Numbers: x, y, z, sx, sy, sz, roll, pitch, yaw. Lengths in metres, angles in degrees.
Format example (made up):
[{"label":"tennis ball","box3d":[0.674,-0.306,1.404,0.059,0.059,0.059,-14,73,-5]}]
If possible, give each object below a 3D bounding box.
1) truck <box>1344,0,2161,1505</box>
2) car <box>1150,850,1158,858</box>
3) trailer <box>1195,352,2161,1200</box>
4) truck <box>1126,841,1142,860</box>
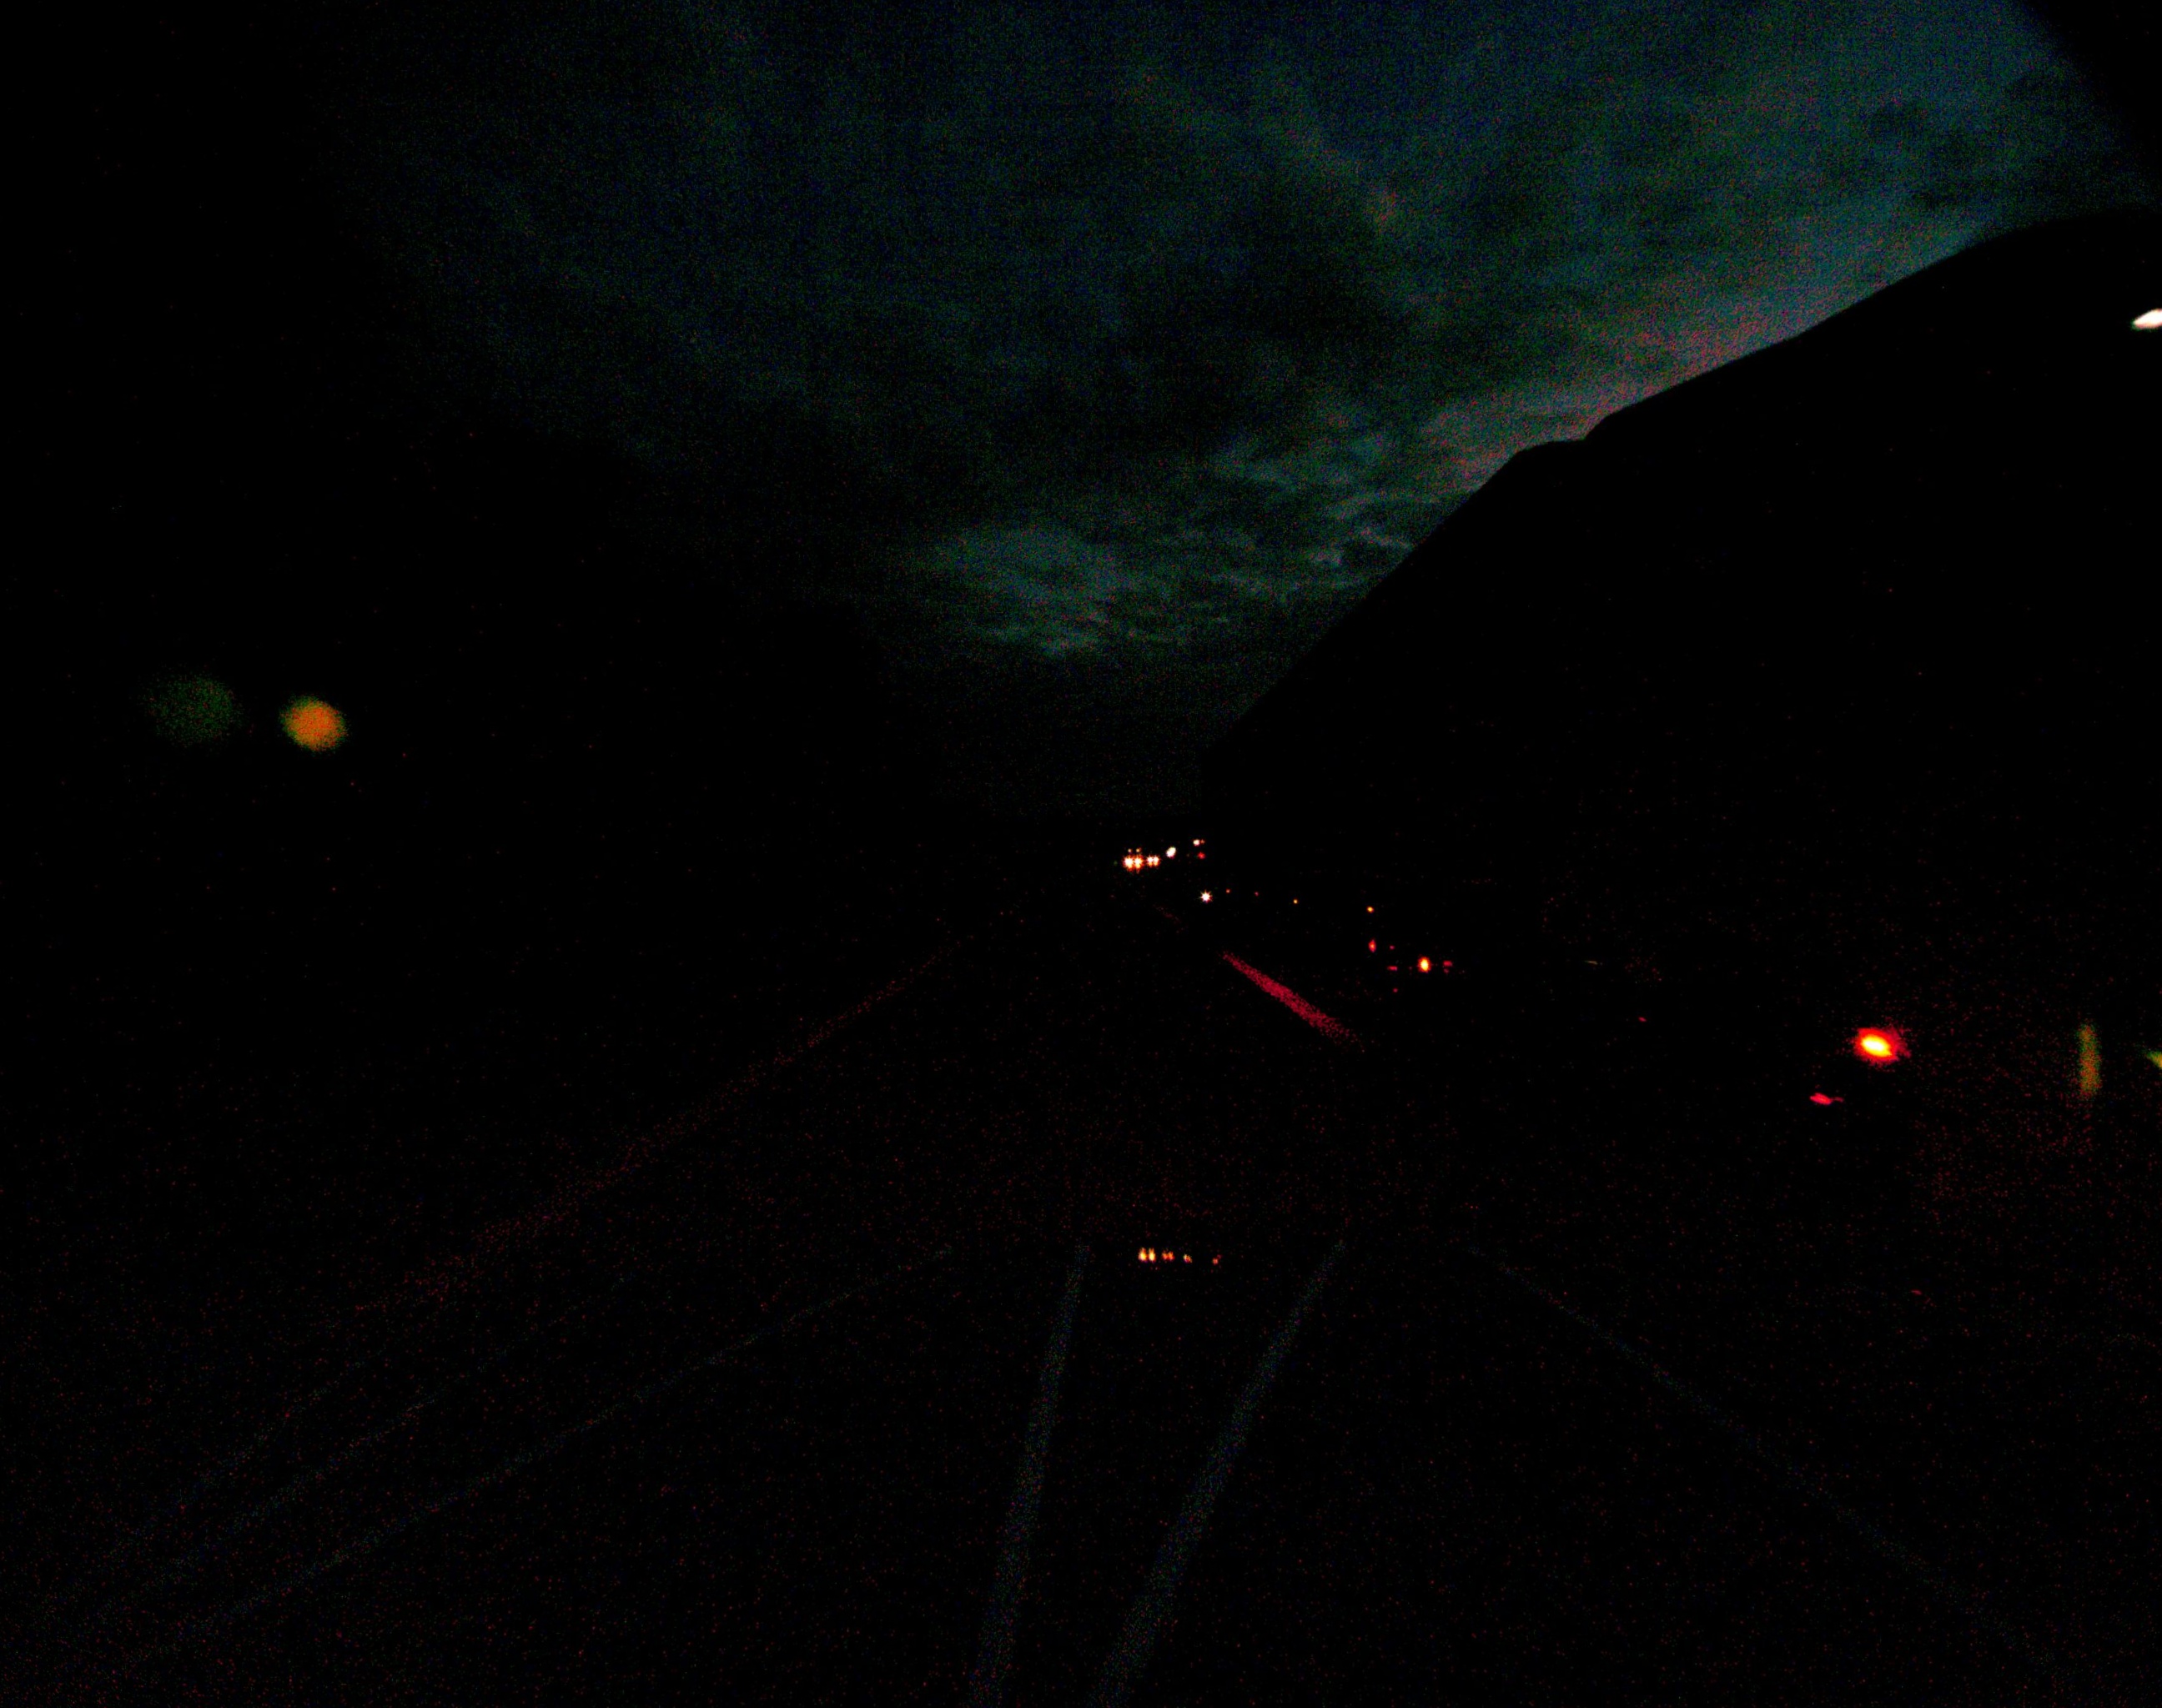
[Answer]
[{"label":"truck","box3d":[4.034,-0.364,4.487,2.786,3.879,6.154,-2,0,0]},{"label":"car","box3d":[20.014,-0.011,209.107,1.998,2.002,4.000,-1,0,1]},{"label":"trailer","box3d":[4.095,-0.350,10.962,2.781,3.892,14.819,-2,0,1]},{"label":"truck","box3d":[12.662,-0.757,181.727,3.352,4.293,11.326,-1,0,2]}]
